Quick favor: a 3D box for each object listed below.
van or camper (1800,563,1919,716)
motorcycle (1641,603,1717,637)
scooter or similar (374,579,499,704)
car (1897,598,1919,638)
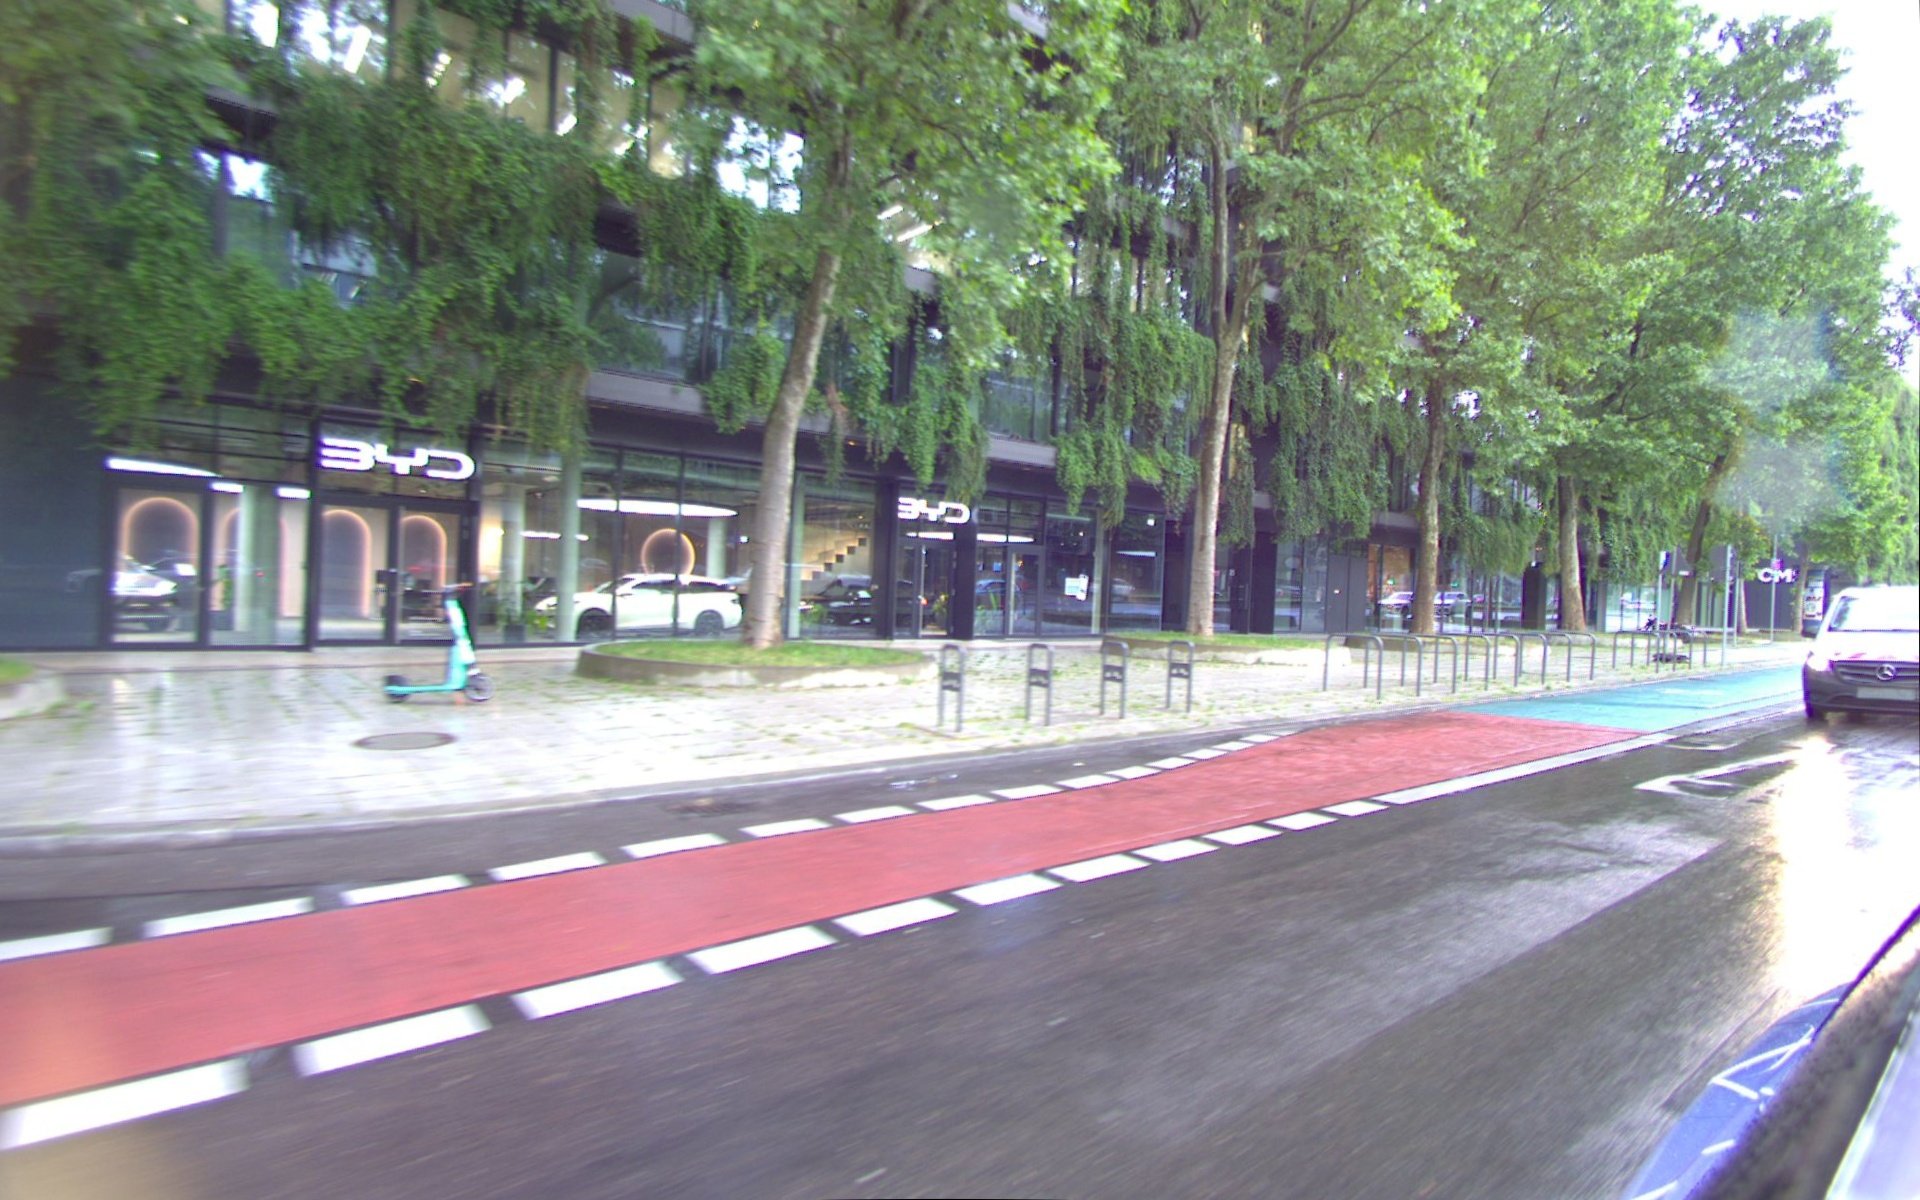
[{"bbox_3d":[13.985,0.535,14.553,5.157,1.937,1.998,1,0,-40],"label":"van or camper"},{"bbox_3d":[28.813,0.786,40.594,1.034,1.286,2.312,1,-1,-40],"label":"motorcycle"},{"bbox_3d":[-5.360,0.417,10.383,1.058,1.243,0.382,1,0,-3],"label":"scooter or similar"},{"bbox_3d":[48.150,0.936,50.028,4.999,1.861,1.849,1,2,-38],"label":"car"}]
